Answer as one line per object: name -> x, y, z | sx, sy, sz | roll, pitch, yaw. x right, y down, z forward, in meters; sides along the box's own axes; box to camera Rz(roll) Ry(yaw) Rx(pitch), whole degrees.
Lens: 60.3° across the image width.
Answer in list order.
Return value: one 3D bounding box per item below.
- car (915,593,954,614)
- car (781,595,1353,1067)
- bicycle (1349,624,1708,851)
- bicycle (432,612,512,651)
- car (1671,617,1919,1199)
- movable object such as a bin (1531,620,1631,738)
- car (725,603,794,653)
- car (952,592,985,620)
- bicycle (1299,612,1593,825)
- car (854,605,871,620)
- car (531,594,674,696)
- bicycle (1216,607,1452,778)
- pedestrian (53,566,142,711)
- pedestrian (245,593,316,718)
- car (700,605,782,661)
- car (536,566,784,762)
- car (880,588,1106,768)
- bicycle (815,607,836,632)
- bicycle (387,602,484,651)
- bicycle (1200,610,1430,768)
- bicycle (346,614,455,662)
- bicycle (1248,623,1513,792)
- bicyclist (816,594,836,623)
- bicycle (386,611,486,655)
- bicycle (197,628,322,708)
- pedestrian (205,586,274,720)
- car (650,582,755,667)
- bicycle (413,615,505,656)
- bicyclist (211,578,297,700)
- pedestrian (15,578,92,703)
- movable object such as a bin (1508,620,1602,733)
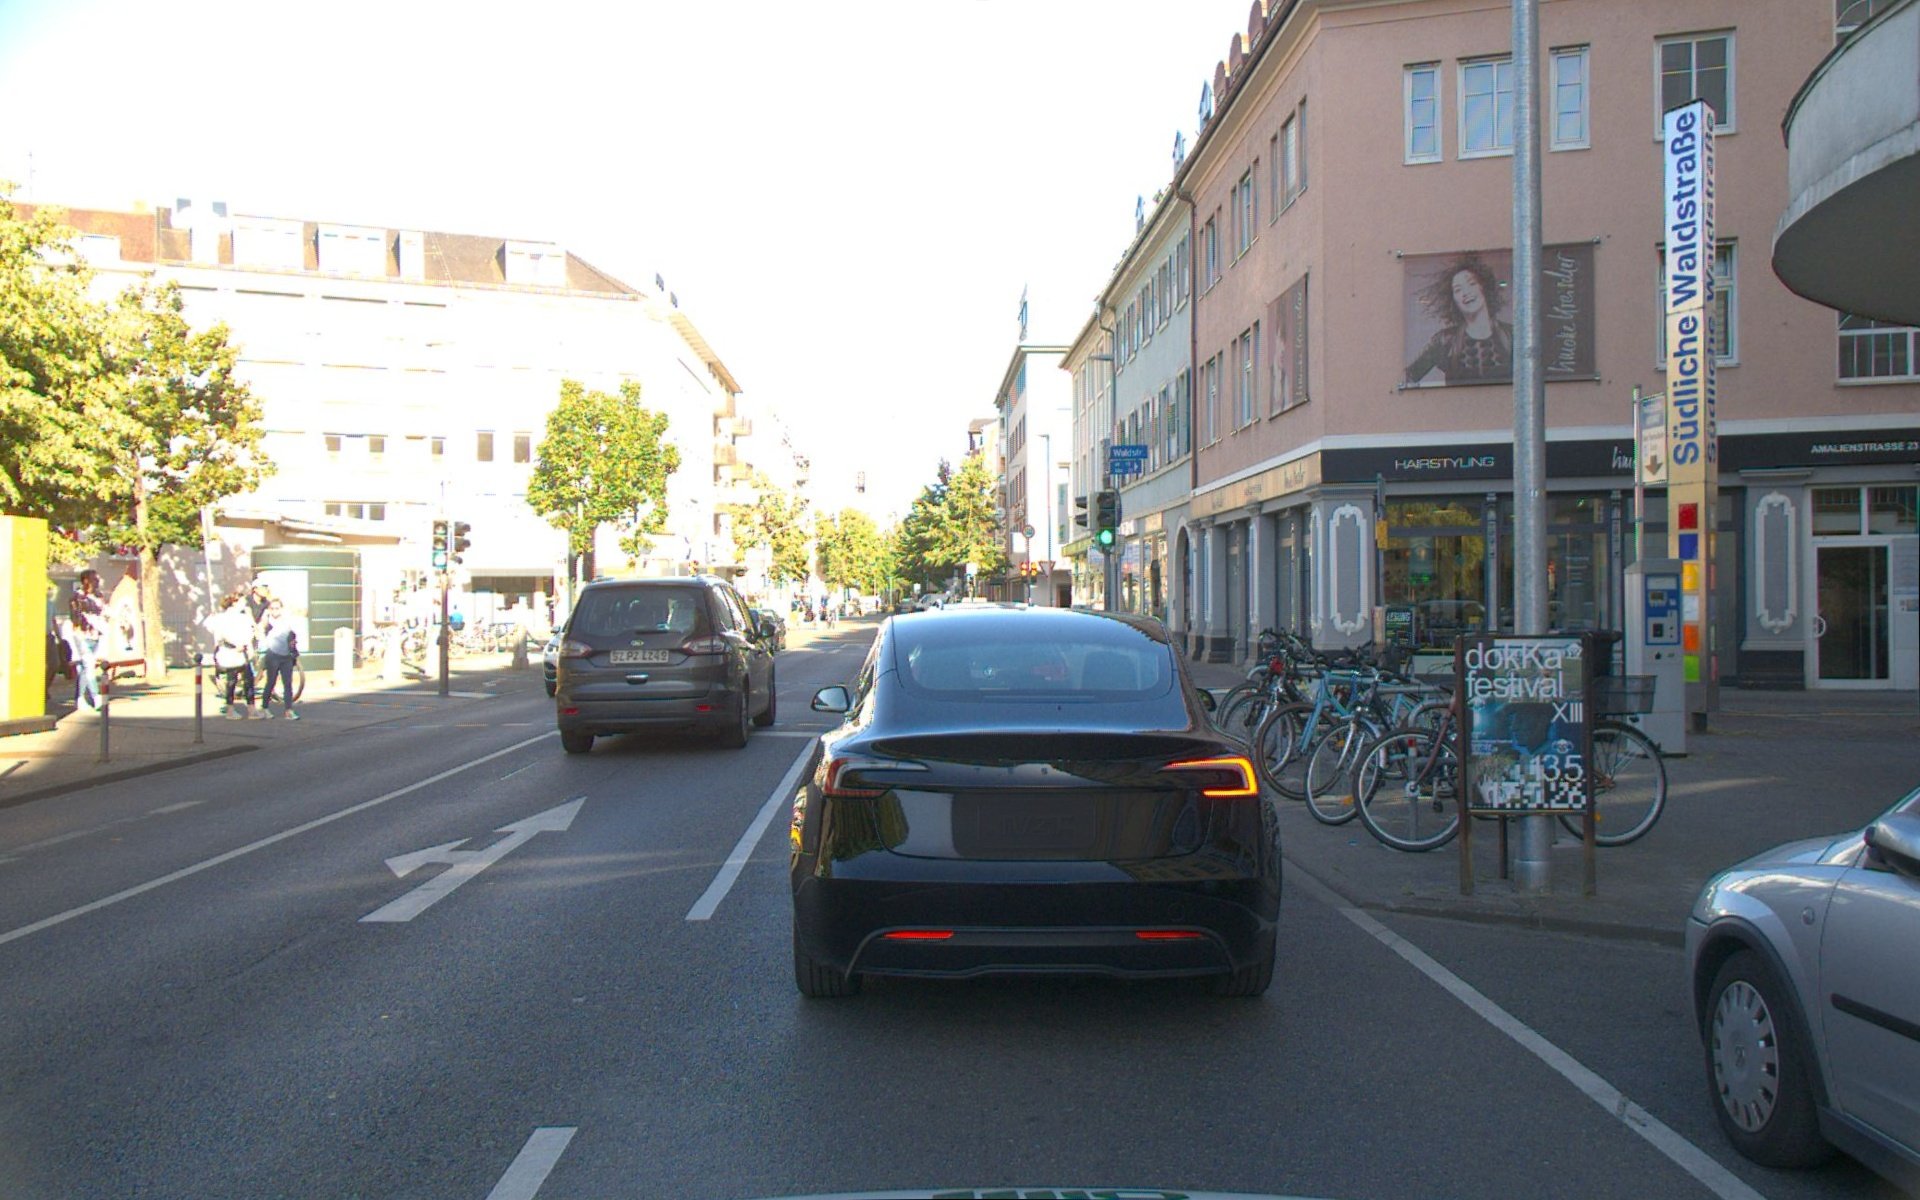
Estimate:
car -> -2.580, 0.326, 167.172 | 3.907, 2.049, 1.999 | 0, 0, -2
car -> 0.312, 0.733, 7.230 | 1.810, 1.480, 3.999 | 0, 0, -1
bicycle -> 3.285, 0.787, 9.684 | 1.846, 1.214, 0.692 | -2, 0, 5
bicycle -> -15.217, 0.984, 51.644 | 2.279, 1.176, 0.841 | 0, 0, -6
car -> 2.952, 0.775, 3.174 | 1.580, 1.406, 3.642 | 1, 0, 0
movable object such as a bin -> 6.043, 0.759, 16.121 | 0.737, 1.111, 0.627 | 1, -1, 1
car -> -6.808, 0.922, 56.565 | 1.954, 1.461, 4.671 | -4, 0, -3
car -> 0.504, 0.336, 100.521 | 1.953, 1.657, 3.999 | 0, 0, -1
bicycle -> 3.138, 0.753, 10.814 | 1.686, 1.290, 0.791 | -2, 0, 5
car -> -10.995, 1.397, 186.547 | 1.954, 1.666, 3.997 | 0, 0, -4
car -> -6.343, 0.744, 29.821 | 1.771, 1.582, 4.307 | -4, 0, -3
bicycle -> 2.986, 0.728, 13.342 | 1.709, 1.289, 0.781 | -2, 0, 2
pedestrian -> -12.145, 0.533, 23.310 | 0.811, 1.989, 0.710 | 1, 0, 11
pedestrian -> -9.383, 0.753, 22.835 | 0.669, 1.692, 0.620 | 0, 0, 25
car -> -6.425, 0.927, 48.980 | 1.954, 1.434, 4.671 | -4, 0, -3
car -> -3.056, 0.591, 17.840 | 1.953, 1.803, 4.726 | -1, 0, -2
car -> 0.212, 0.670, 16.343 | 1.953, 1.538, 4.173 | 0, 0, -2
bicycle -> -7.704, 1.089, 95.056 | 1.089, 1.368, 3.997 | 0, 0, -4
bicycle -> -14.715, 0.735, 46.467 | 2.429, 1.347, 0.921 | 0, 0, -6
bicycle -> 3.051, 0.756, 14.373 | 1.822, 1.280, 0.833 | -2, 0, 5
bicycle -> -14.193, 0.956, 42.010 | 2.455, 1.176, 0.842 | 0, 0, -2
bicycle -> 3.055, 0.777, 12.164 | 1.760, 1.144, 0.782 | -2, 0, 5
bicyclist -> -7.720, 0.462, 95.150 | 1.104, 1.657, 0.964 | 0, 0, -4
bicycle -> -14.106, 0.878, 44.544 | 2.412, 1.176, 0.842 | 0, 0, -2
bicycle -> -10.976, 1.048, 25.909 | 2.019, 1.159, 0.538 | 2, 0, 23
pedestrian -> -9.707, 0.700, 22.280 | 0.537, 1.758, 0.673 | 0, 0, 32
car -> -6.355, 0.560, 41.278 | 1.797, 1.877, 4.673 | -4, 0, 0
bicycle -> -14.893, 1.055, 49.220 | 2.485, 1.176, 0.841 | 0, 0, -6
bicyclist -> -11.048, 0.594, 25.887 | 0.930, 1.870, 0.788 | 1, 0, 22
pedestrian -> -13.840, 0.606, 25.254 | 0.828, 1.859, 0.740 | 0, 0, 33
movable object such as a bin -> 6.022, 0.762, 16.759 | 0.718, 1.111, 0.627 | 1, -1, 1
